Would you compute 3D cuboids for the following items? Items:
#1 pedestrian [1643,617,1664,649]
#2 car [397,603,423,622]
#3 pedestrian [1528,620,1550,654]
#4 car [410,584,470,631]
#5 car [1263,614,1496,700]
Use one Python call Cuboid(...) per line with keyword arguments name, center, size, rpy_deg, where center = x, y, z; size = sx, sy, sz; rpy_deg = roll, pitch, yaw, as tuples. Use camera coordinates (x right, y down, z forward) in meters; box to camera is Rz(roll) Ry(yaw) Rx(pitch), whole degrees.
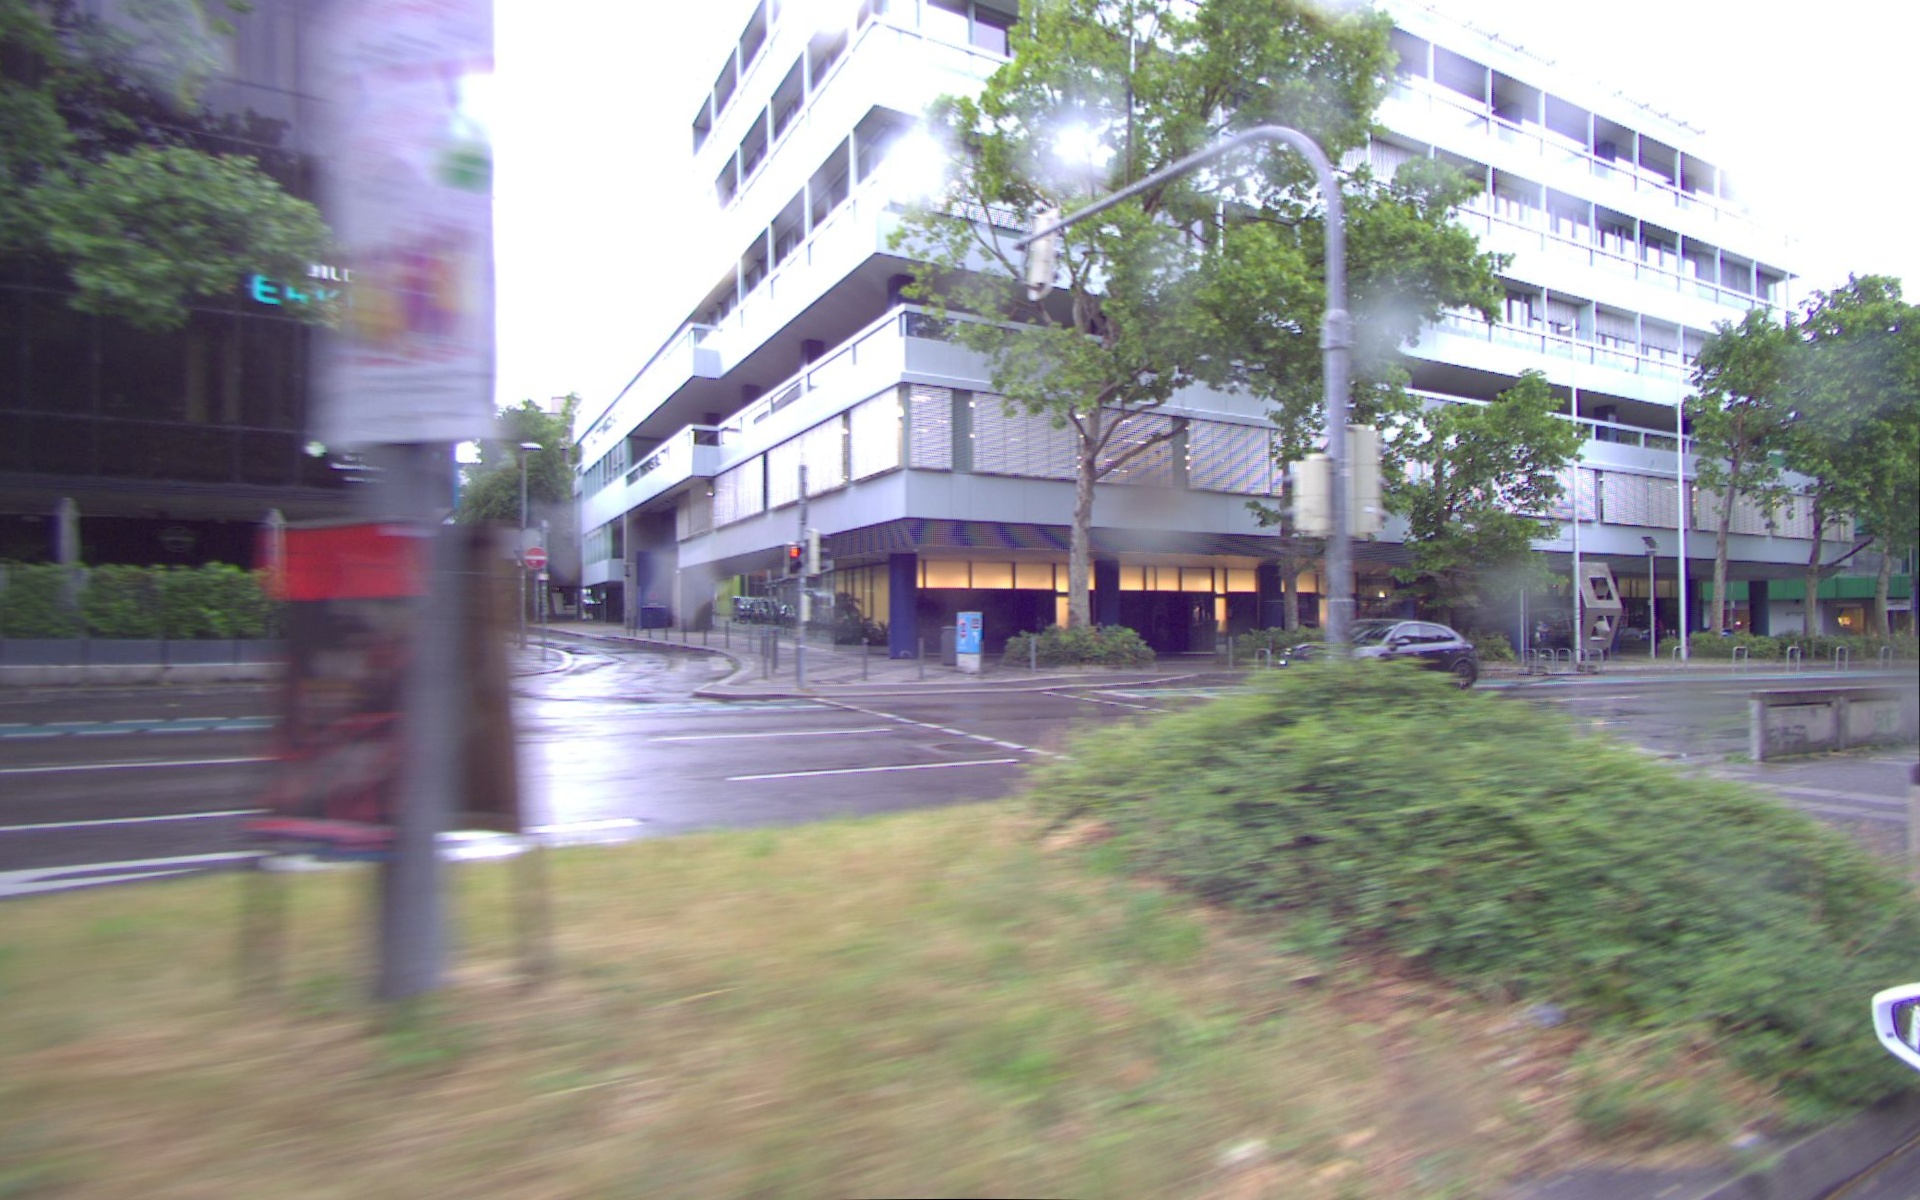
Cuboid(name="pedestrian", center=(33.500, 1.598, 48.510), size=(0.568, 1.502, 0.606), rpy_deg=(2, 0, -32))
Cuboid(name="car", center=(-36.560, 0.801, 66.743), size=(1.243, 1.148, 2.592), rpy_deg=(2, 0, -34))
Cuboid(name="pedestrian", center=(24.455, 1.548, 42.424), size=(0.469, 1.398, 0.634), rpy_deg=(2, 0, -32))
Cuboid(name="car", center=(-28.380, 0.380, 54.680), size=(2.227, 2.354, 6.702), rpy_deg=(2, 0, -33))
Cuboid(name="car", center=(8.852, 1.184, 21.155), size=(4.684, 1.605, 1.903), rpy_deg=(2, 0, -26))
